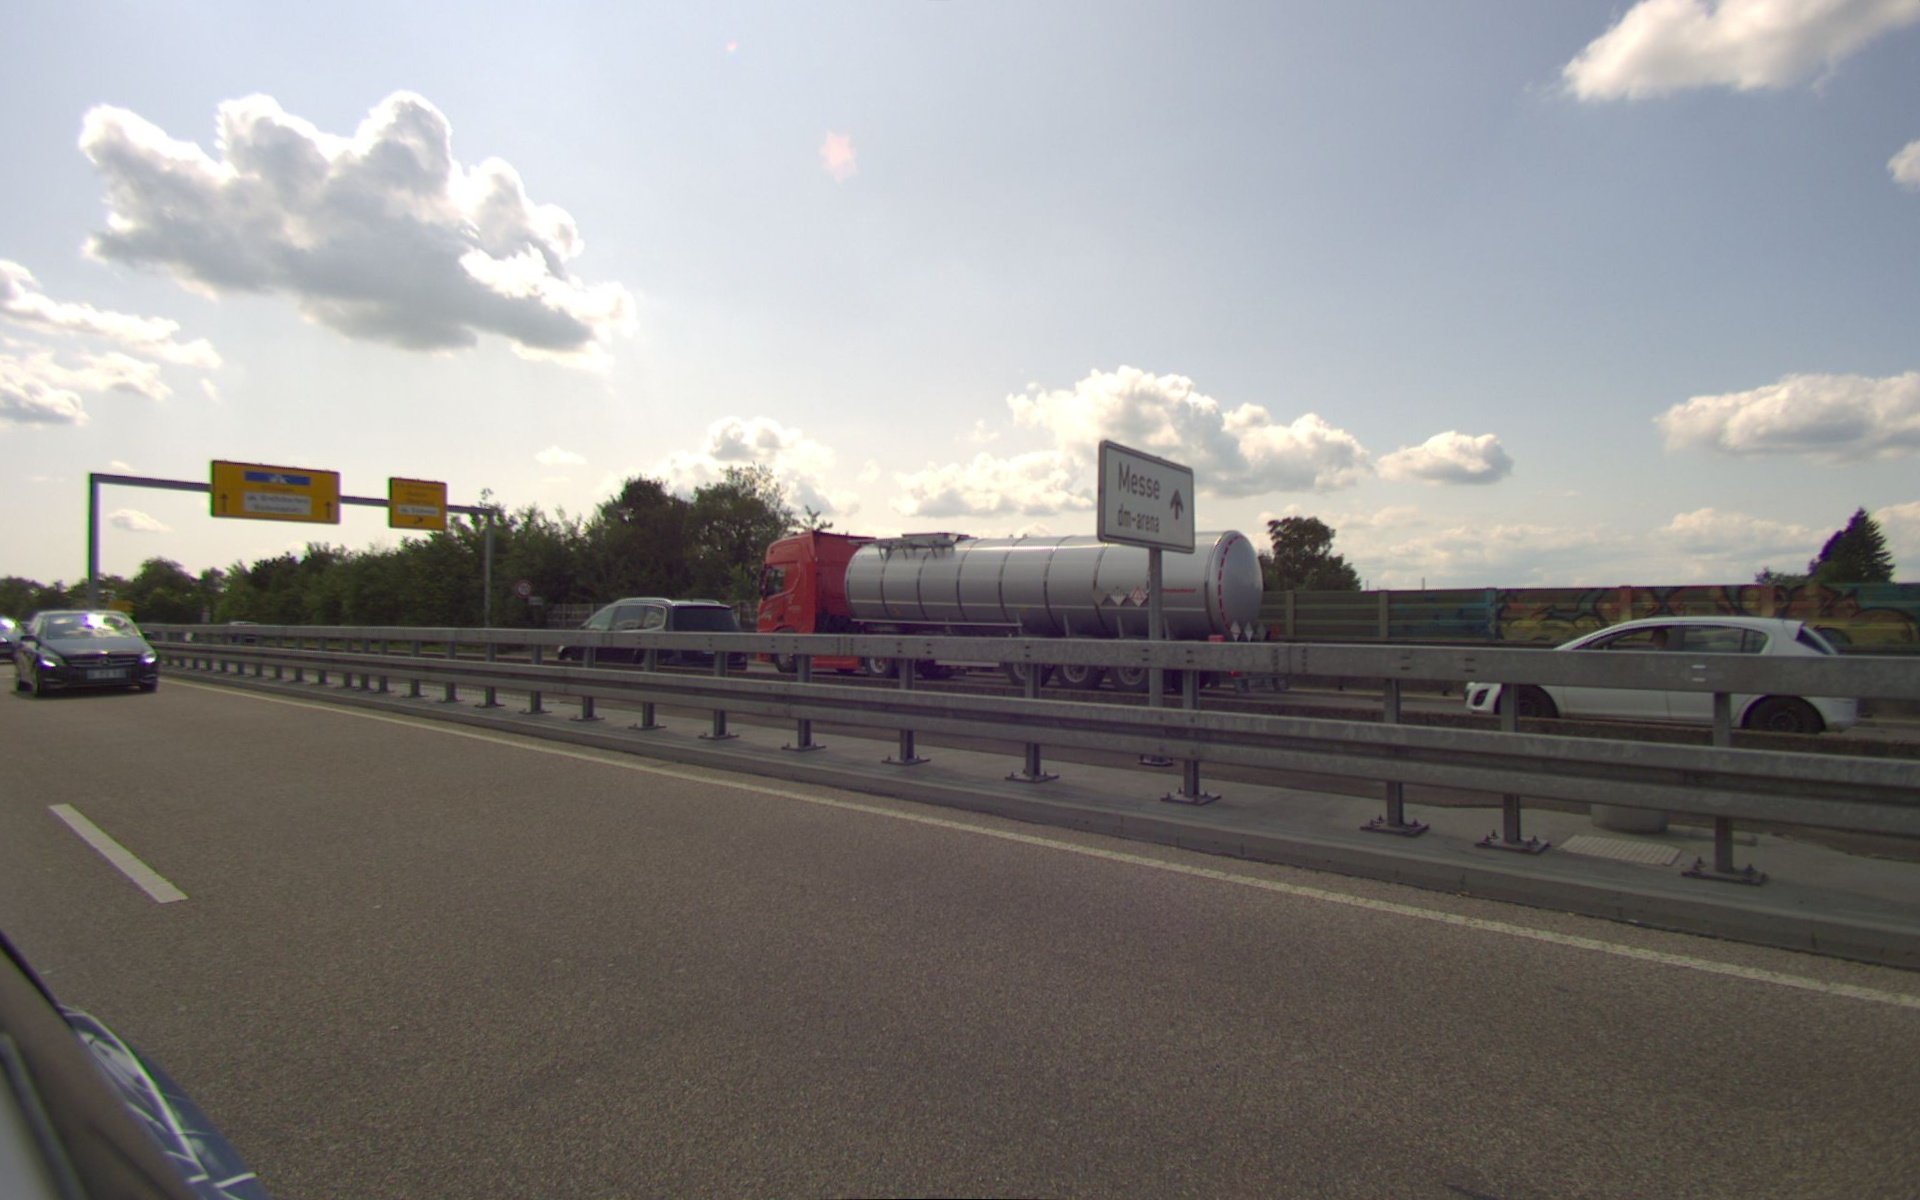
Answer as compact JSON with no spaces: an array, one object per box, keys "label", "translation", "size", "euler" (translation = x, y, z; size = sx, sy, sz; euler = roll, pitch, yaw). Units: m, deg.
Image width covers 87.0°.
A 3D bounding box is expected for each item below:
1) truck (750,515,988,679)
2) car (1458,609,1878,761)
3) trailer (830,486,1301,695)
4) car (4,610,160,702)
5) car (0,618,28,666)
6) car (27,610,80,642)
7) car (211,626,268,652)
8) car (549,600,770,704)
[{"label":"truck","translation":[-2.513,-0.061,26.485],"size":[6.230,3.810,2.620],"euler":[-1,0,42]},{"label":"car","translation":[8.423,0.885,12.282],"size":[3.958,1.520,1.764],"euler":[-1,0,41]},{"label":"trailer","translation":[1.717,-0.140,22.590],"size":[11.026,3.697,2.656],"euler":[-1,0,42]},{"label":"car","translation":[-16.923,0.984,19.433],"size":[4.591,1.539,1.693],"euler":[-1,0,42]},{"label":"car","translation":[-30.728,1.303,31.907],"size":[3.770,1.422,1.604],"euler":[-1,0,42]},{"label":"car","translation":[-62.421,1.753,69.638],"size":[5.227,2.004,2.058],"euler":[1,-1,41]},{"label":"car","translation":[-43.910,2.348,61.626],"size":[4.398,1.442,1.672],"euler":[-1,0,39]},{"label":"car","translation":[-5.922,0.907,19.632],"size":[4.594,1.763,1.973],"euler":[-1,0,41]}]
